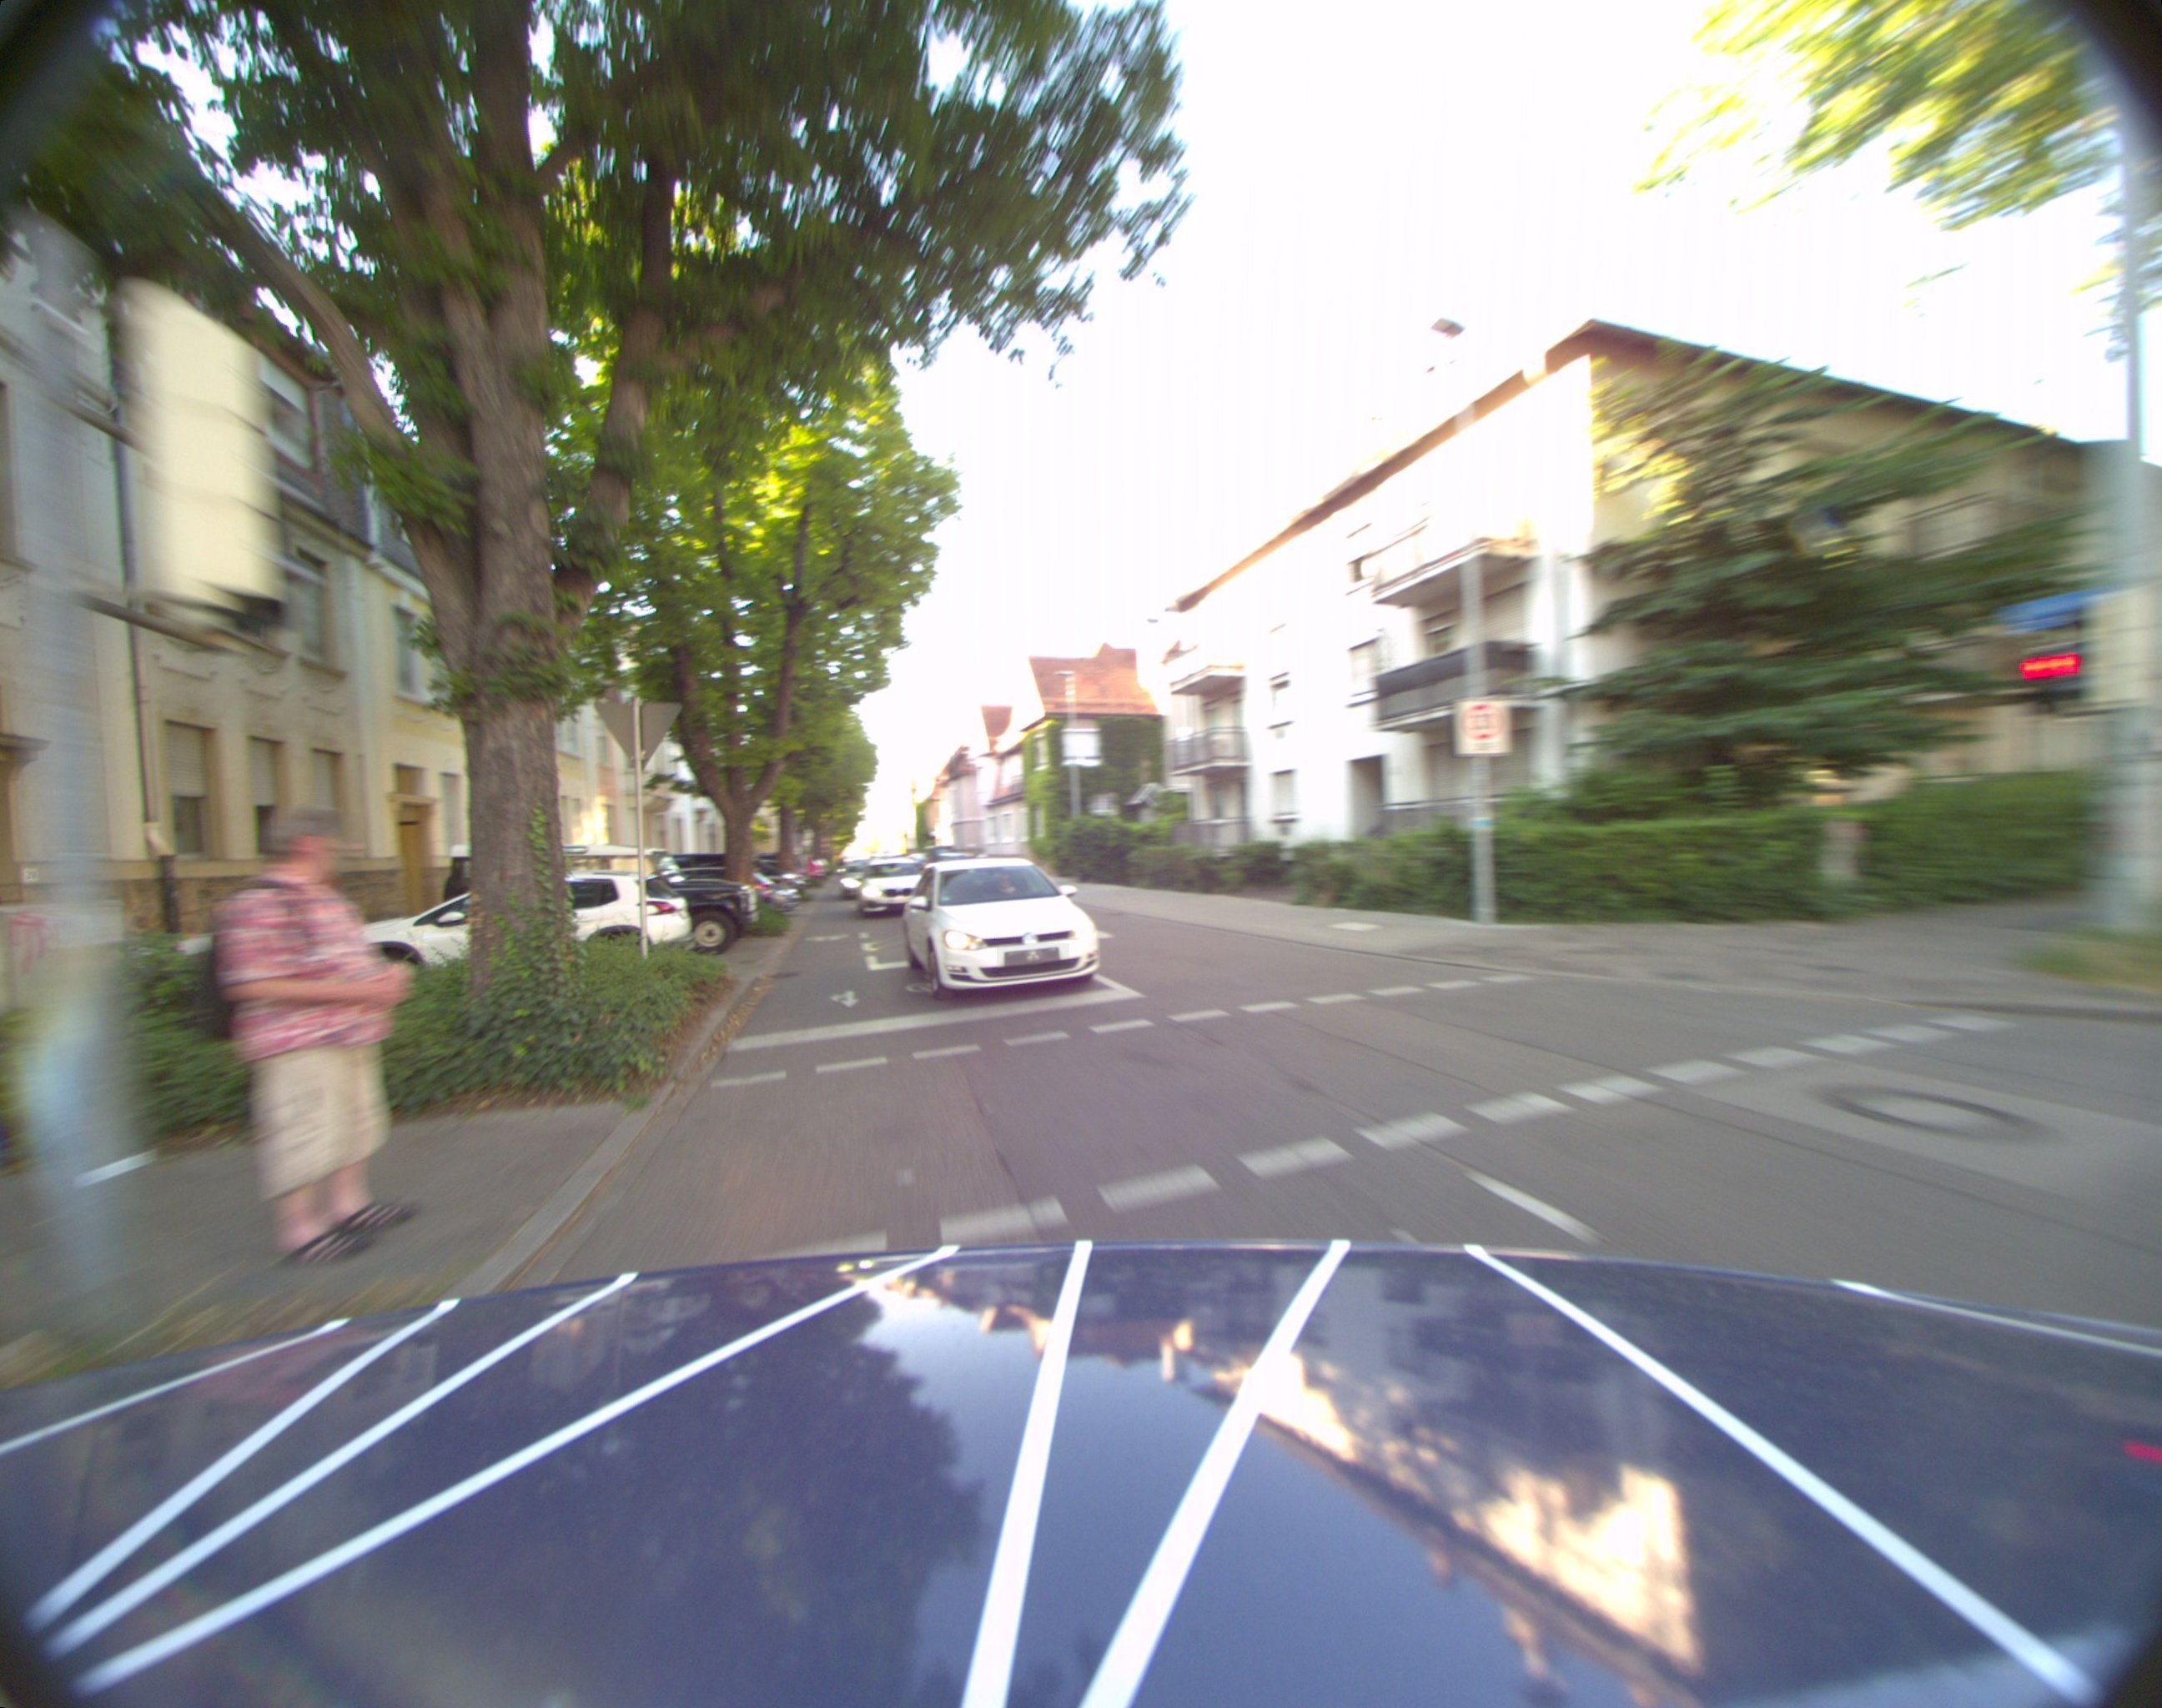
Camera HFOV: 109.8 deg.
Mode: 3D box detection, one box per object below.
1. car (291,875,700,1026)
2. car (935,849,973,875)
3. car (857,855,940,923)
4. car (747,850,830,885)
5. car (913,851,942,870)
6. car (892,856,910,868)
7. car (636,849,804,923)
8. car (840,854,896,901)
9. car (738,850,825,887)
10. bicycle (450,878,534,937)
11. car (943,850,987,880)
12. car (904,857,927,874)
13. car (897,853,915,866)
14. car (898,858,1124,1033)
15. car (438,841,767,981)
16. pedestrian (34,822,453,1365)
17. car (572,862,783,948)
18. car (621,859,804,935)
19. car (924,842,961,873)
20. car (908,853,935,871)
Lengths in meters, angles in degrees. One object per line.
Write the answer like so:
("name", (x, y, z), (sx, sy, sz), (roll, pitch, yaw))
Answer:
("car", (-7.661, 1.182, 10.451), (4.051, 1.566, 1.681), (-2, 1, -19))
("car", (-7.958, 0.488, 47.284), (1.695, 1.446, 3.994), (-4, 2, -17))
("car", (-5.127, 0.868, 20.968), (1.845, 1.509, 4.016), (-4, 2, -17))
("car", (-18.571, 0.804, 48.445), (4.716, 1.863, 1.996), (-4, 2, -19))
("car", (-12.724, 0.508, 62.716), (1.823, 1.420, 4.282), (-4, 2, -17))
("car", (-23.720, 1.011, 100.114), (1.823, 1.420, 4.282), (-4, 2, -17))
("car", (-11.797, 0.971, 25.252), (4.716, 2.002, 1.996), (-4, 2, -19))
("car", (-8.456, 0.846, 29.948), (1.845, 1.509, 4.746), (-4, 2, -17))
("car", (-17.976, 0.844, 45.859), (4.716, 1.863, 1.996), (-4, 2, -19))
("bicycle", (-14.534, 1.276, 18.837), (0.762, 1.277, 2.201), (-1, 1, -13))
("car", (-6.344, 0.557, 41.286), (1.695, 1.446, 3.994), (-4, 2, -17))
("car", (-16.612, 1.135, 76.173), (1.823, 1.420, 4.282), (-4, 2, -17))
("car", (-21.493, 0.642, 93.200), (1.823, 1.420, 4.282), (-4, 2, -17))
("car", (-1.099, 0.867, 9.272), (1.845, 1.442, 4.104), (-4, 2, -17))
("car", (-8.017, 0.869, 13.269), (4.438, 1.974, 1.756), (-2, 4, -17))
("pedestrian", (-3.104, 0.801, 2.925), (0.702, 1.796, 0.665), (-4, 2, -12))
("car", (-9.692, 1.166, 18.685), (4.214, 1.619, 1.970), (-4, 2, -19))
("car", (-9.939, 1.100, 20.913), (4.214, 1.598, 1.996), (-4, 2, -19))
("car", (-9.491, 0.213, 51.960), (1.823, 1.895, 4.282), (-4, 2, -17))
("car", (-14.324, 0.648, 67.979), (1.823, 1.420, 4.282), (-4, 2, -17))
